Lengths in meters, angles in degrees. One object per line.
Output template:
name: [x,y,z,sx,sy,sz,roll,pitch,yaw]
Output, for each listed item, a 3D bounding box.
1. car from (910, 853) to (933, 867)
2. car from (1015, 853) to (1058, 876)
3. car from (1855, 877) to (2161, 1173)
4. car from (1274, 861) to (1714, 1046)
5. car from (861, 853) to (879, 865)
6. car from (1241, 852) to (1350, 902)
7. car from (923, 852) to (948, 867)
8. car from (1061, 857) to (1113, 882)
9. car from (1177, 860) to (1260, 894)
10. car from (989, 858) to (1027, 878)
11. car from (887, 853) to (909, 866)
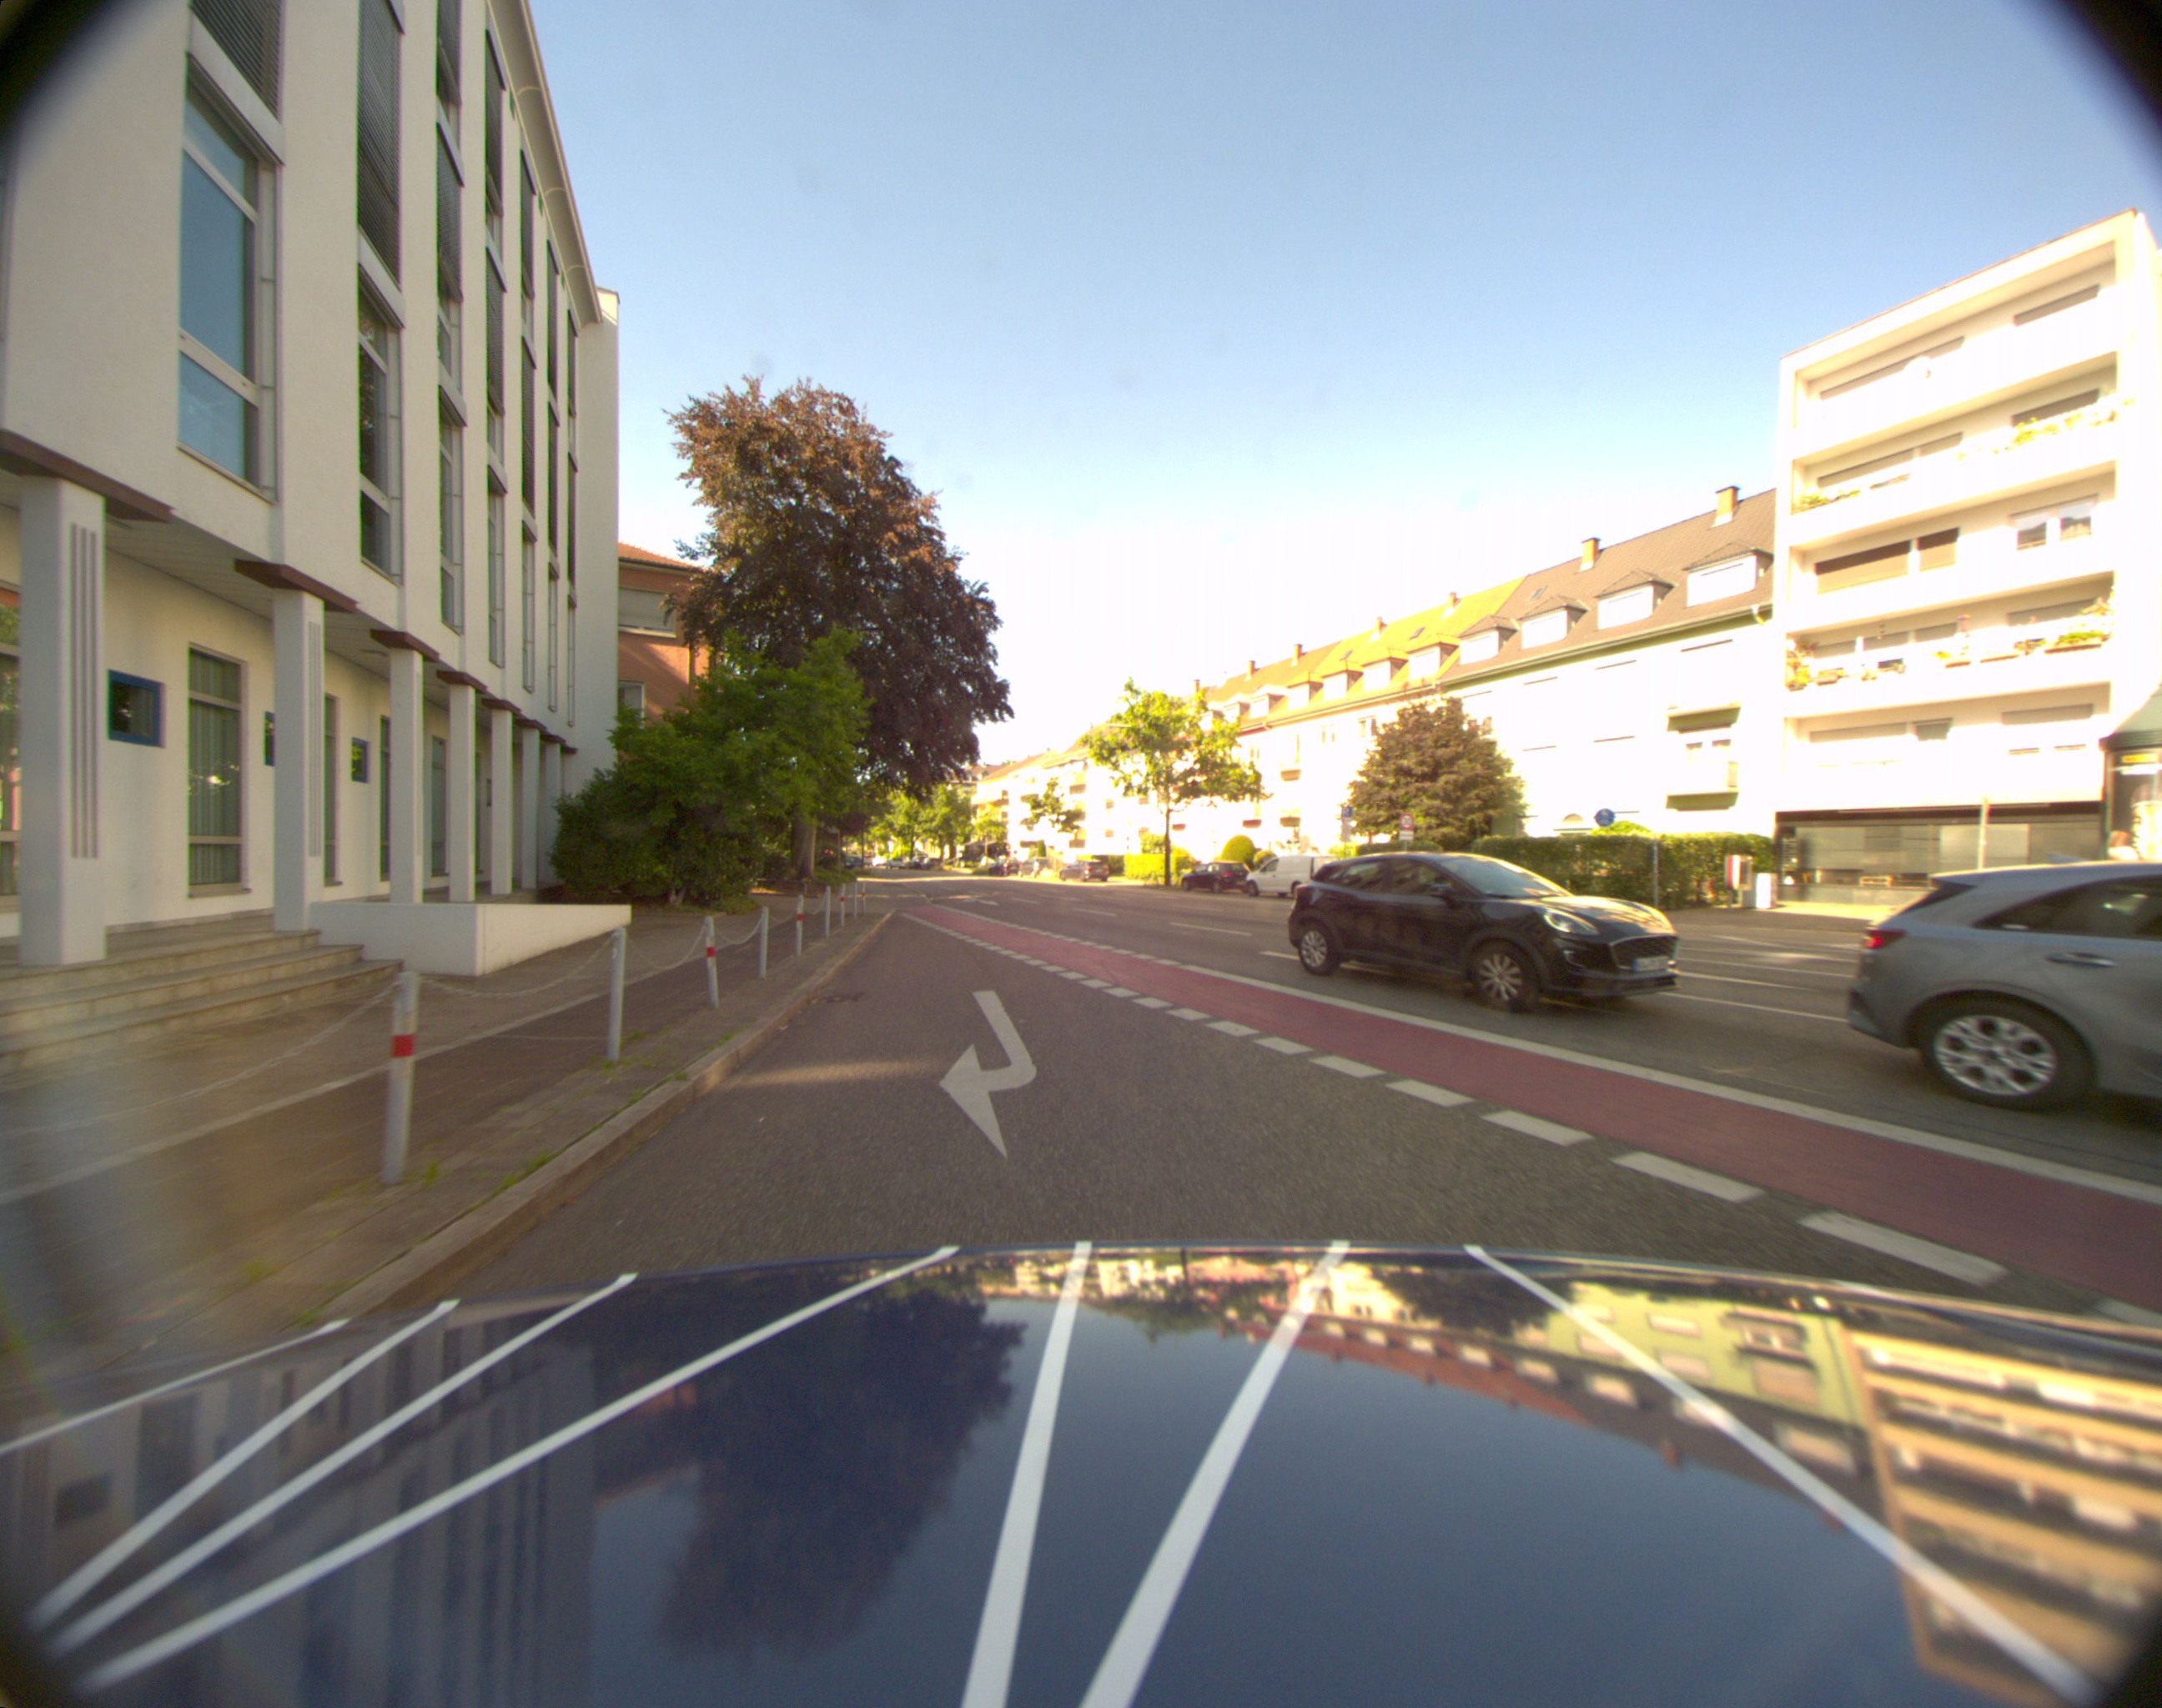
car: [-19.076,0.737,90.958,1.807,1.552,3.915,-3,1,-25]
car: [-3.390,0.788,57.404,1.807,1.552,4.158,-3,1,-25]
car: [6.539,0.857,3.308,1.887,1.399,4.049,0,0,-24]
car: [4.132,0.836,8.396,1.699,1.483,4.067,0,0,-24]
car: [-30.760,0.743,110.522,1.807,1.552,4.158,-3,1,-25]
car: [8.671,0.889,31.051,1.808,1.847,4.157,-3,1,-29]
car: [-16.445,0.615,85.672,1.807,1.552,3.915,-3,1,-25]
car: [0.331,0.942,48.804,1.807,1.449,3.997,-3,1,-25]
car: [6.405,1.052,35.779,1.807,1.421,4.042,-3,1,-25]
car: [-6.067,1.147,62.742,1.807,1.552,4.158,-3,1,-25]
car: [-21.680,0.633,90.044,1.808,1.552,4.158,0,0,-25]
